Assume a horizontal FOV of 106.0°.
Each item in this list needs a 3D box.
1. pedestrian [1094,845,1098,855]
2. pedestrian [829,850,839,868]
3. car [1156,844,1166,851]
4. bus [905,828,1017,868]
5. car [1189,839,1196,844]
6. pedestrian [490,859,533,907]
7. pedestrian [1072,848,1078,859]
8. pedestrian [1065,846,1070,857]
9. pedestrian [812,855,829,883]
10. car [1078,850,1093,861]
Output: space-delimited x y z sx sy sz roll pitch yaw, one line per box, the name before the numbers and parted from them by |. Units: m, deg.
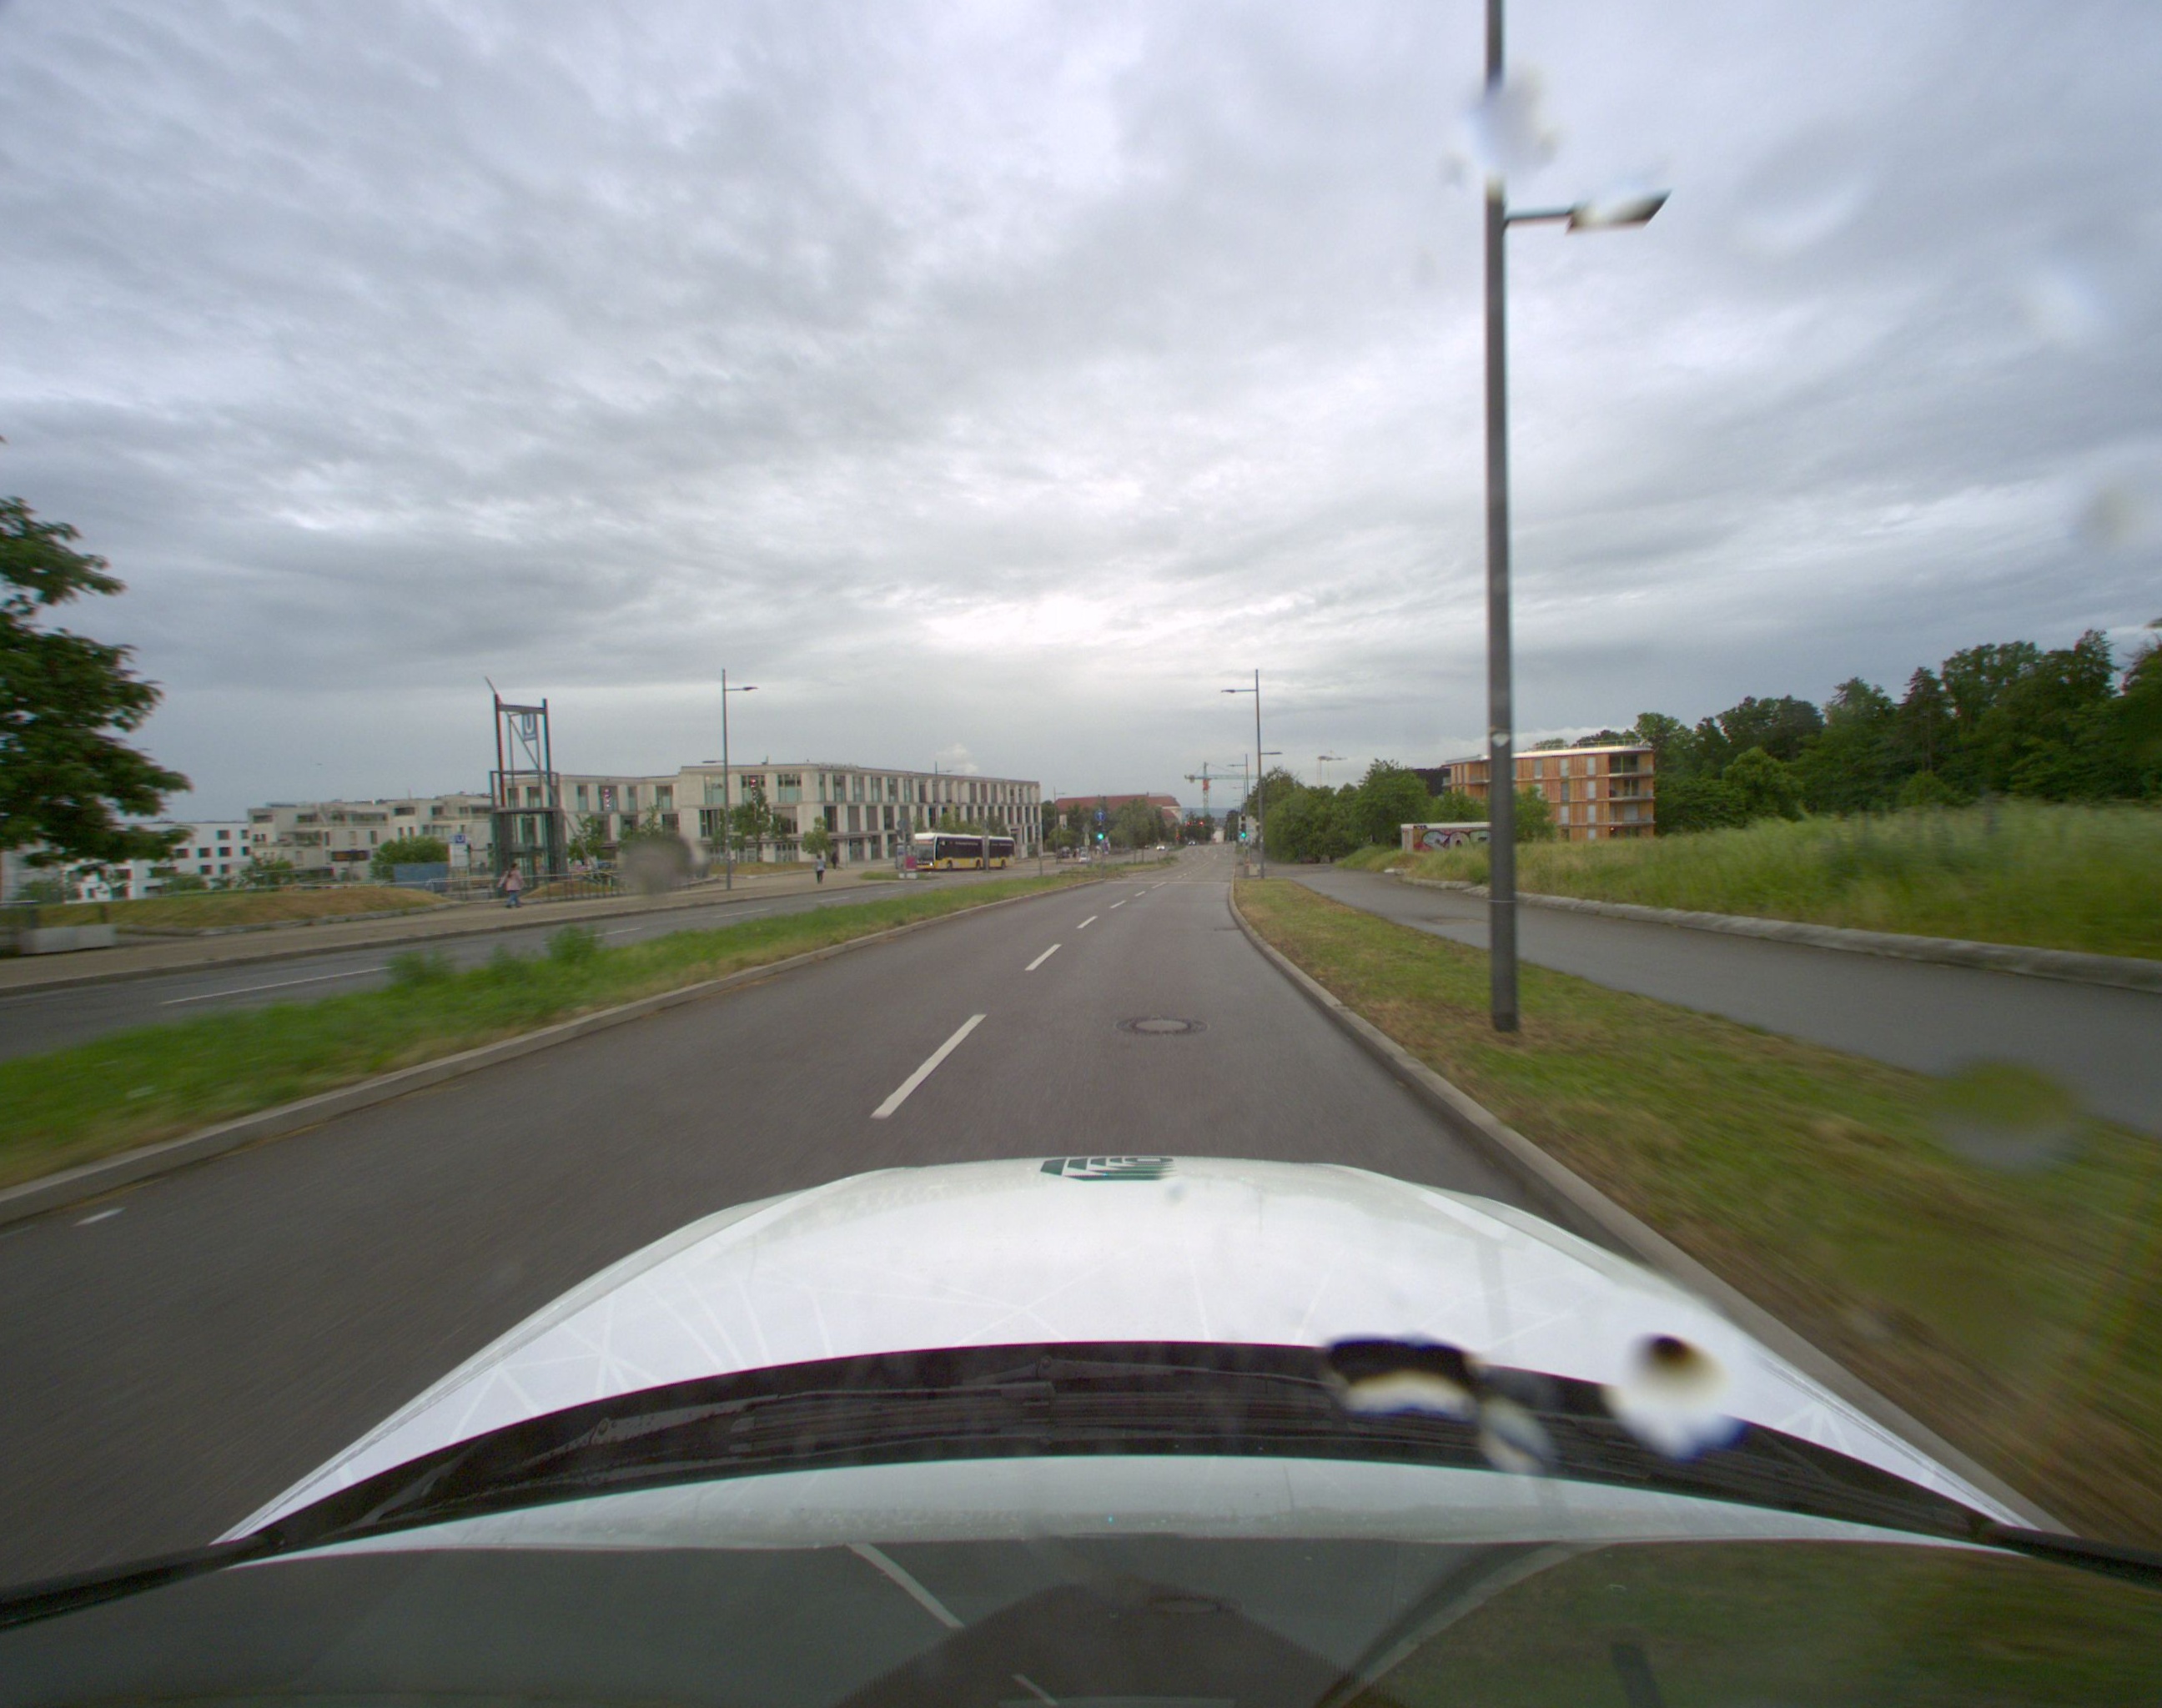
pedestrian | 3.103 -0.840 165.740 0.748 2.014 0.836 -1 -1 -7
pedestrian | -21.165 0.454 69.668 0.682 1.524 0.717 -1 -1 -8
car | 19.173 -1.616 194.850 1.756 1.494 4.083 -2 -1 15
bus | -10.999 -0.421 78.667 2.762 3.357 18.309 -2 -1 18
car | 34.645 -3.909 253.319 1.756 1.494 4.084 -2 -1 16
pedestrian | -19.745 0.986 28.237 0.810 1.621 0.936 -2 -1 3
pedestrian | -1.013 -0.090 136.840 0.748 1.947 0.836 -1 -1 -7
pedestrian | -2.462 -0.434 146.127 0.748 1.853 0.836 -1 -1 -7
pedestrian | -14.773 0.851 46.196 0.835 1.573 0.716 -1 -1 -14
car | 0.708 0.201 119.958 1.467 1.494 2.541 -2 -1 16
